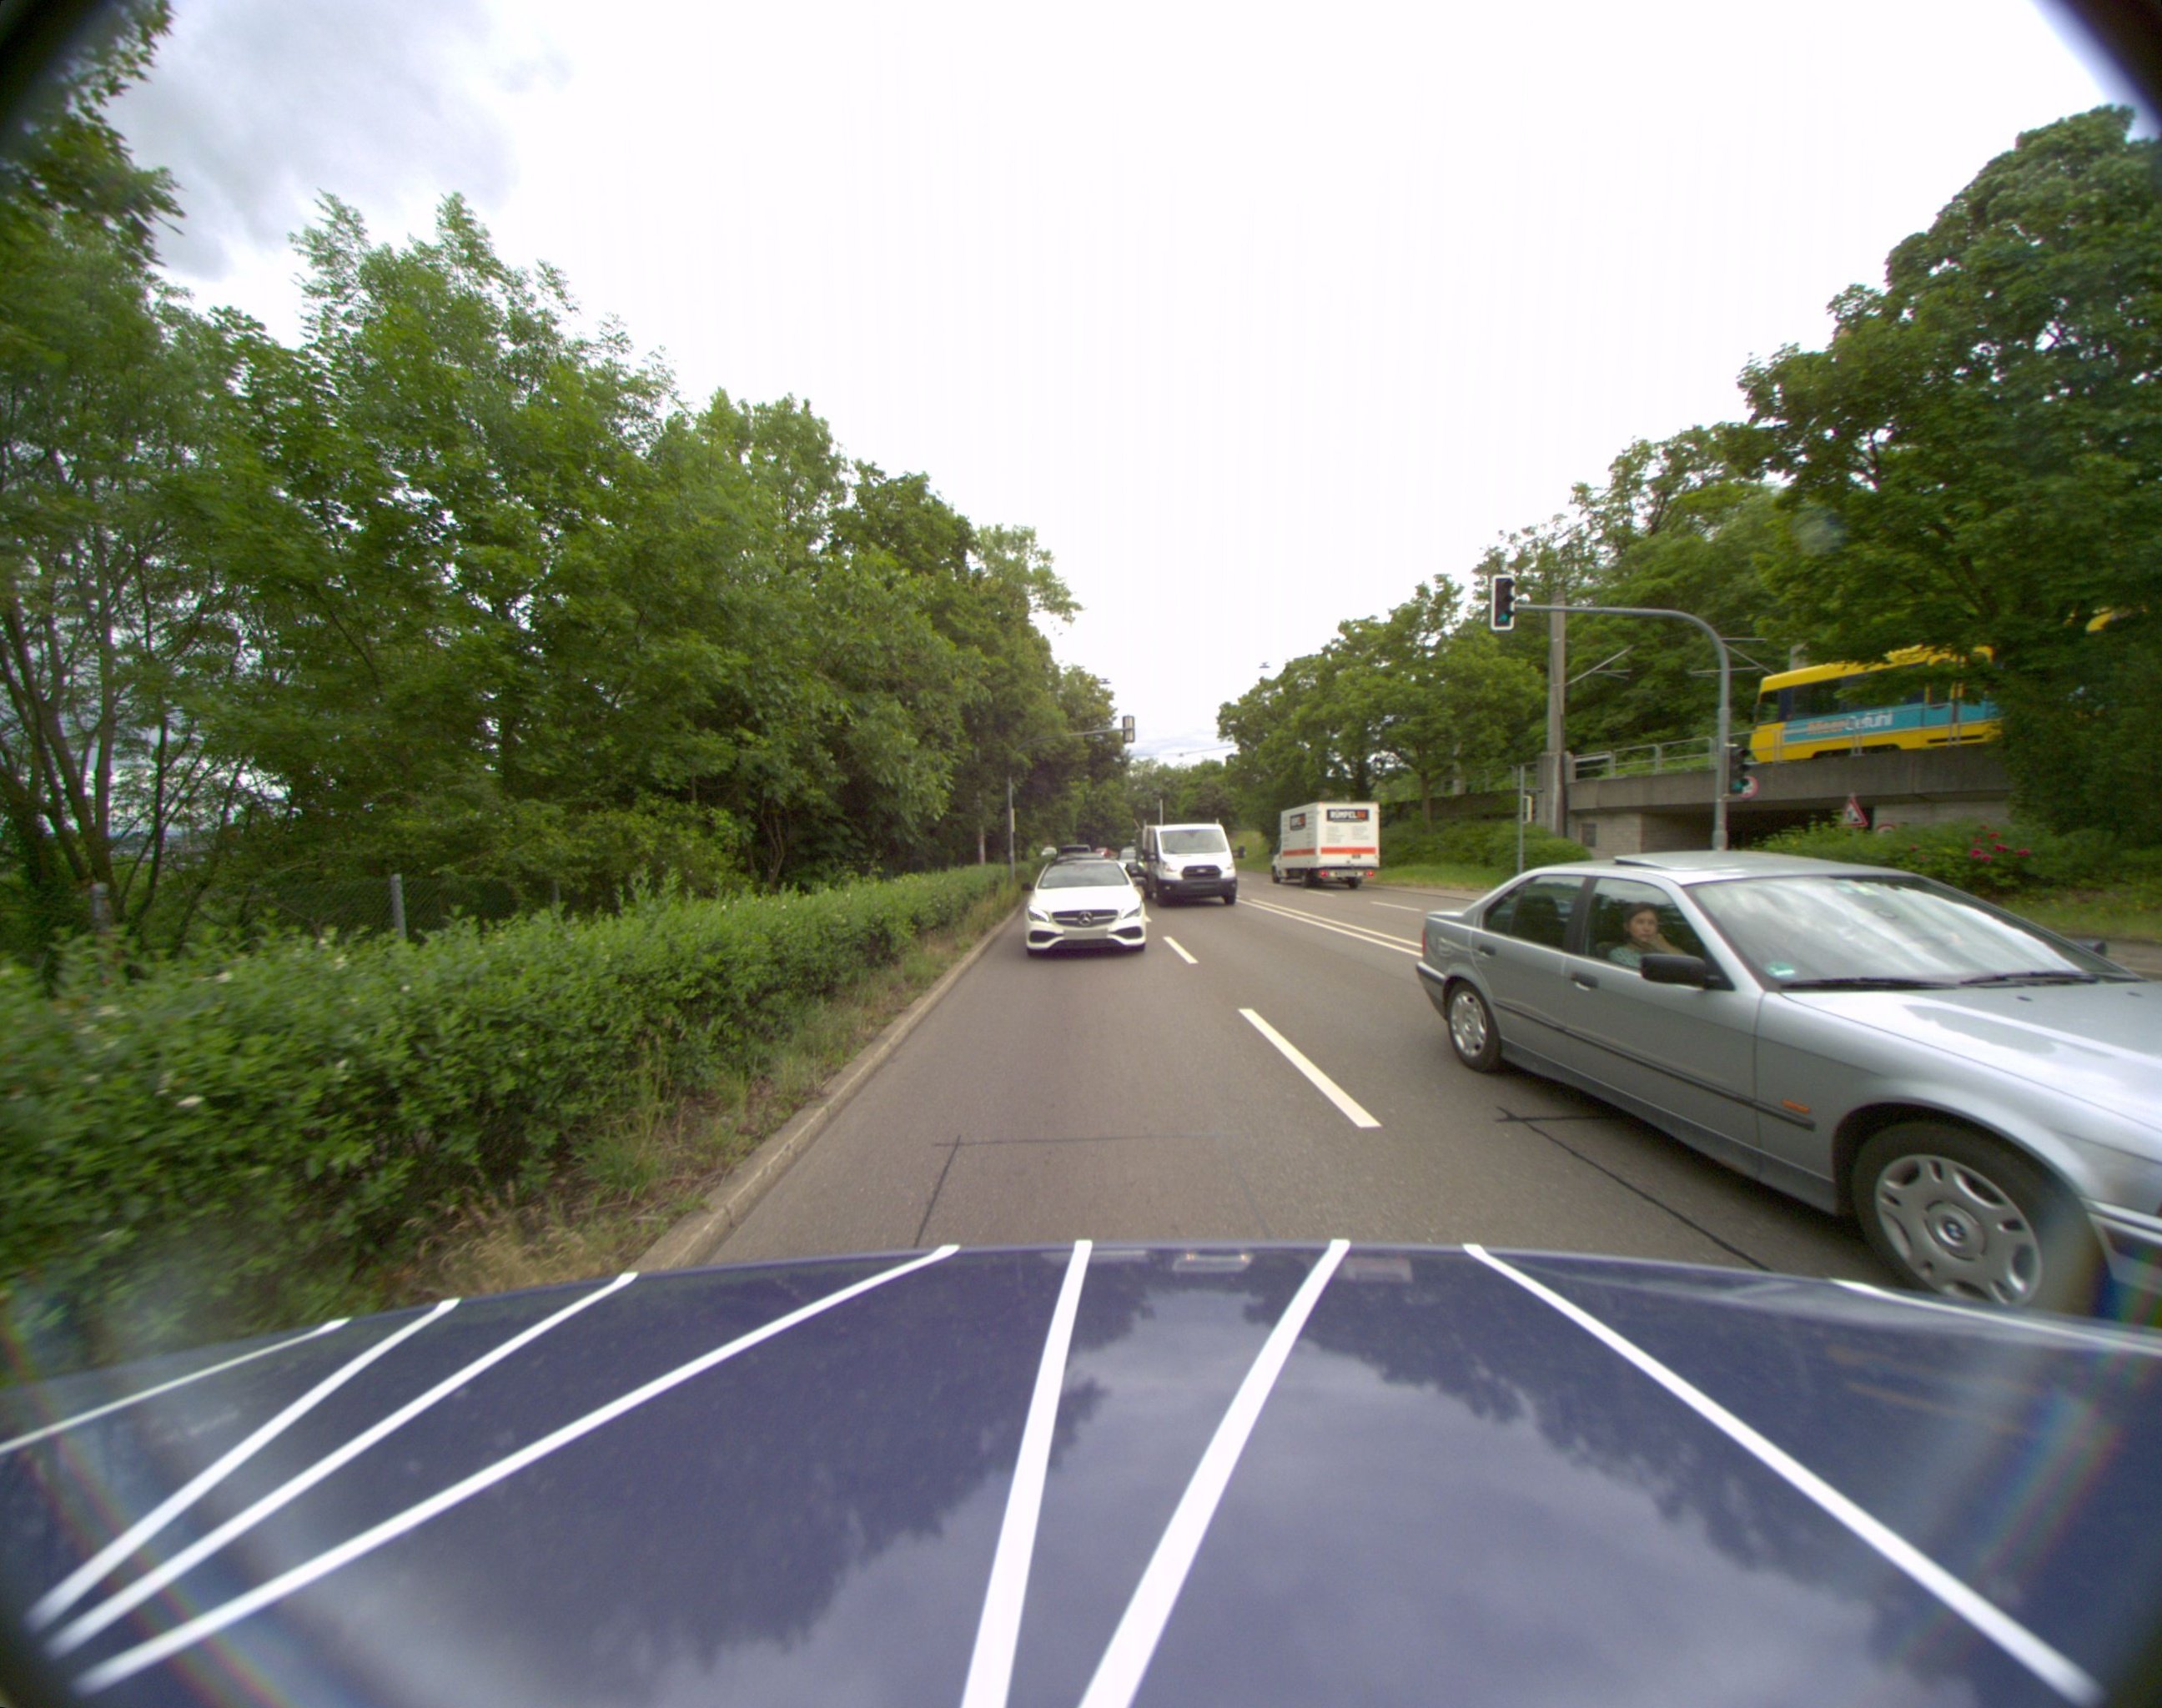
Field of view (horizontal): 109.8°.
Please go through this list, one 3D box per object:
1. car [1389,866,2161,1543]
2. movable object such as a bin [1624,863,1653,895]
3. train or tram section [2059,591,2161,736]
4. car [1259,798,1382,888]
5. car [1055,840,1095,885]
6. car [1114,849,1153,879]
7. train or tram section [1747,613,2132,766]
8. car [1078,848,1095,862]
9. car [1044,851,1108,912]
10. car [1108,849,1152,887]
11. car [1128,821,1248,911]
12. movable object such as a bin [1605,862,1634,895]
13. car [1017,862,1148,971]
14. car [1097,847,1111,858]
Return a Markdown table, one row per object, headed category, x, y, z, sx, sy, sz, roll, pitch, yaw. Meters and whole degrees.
| category | x | y | z | sx | sy | sz | roll | pitch | yaw |
| --- | --- | --- | --- | --- | --- | --- | --- | --- | --- |
| car | 3.279 | 0.824 | 3.551 | 1.757 | 1.385 | 4.614 | -1 | 1 | -1 |
| movable object such as a bin | 18.986 | 0.840 | 25.878 | 0.544 | 1.070 | 0.563 | 1 | 1 | -2 |
| train or tram section | 25.676 | -4.408 | 14.934 | 2.063 | 3.026 | 8.146 | -3 | 2 | -4 |
| car | 9.175 | -0.426 | 29.971 | 2.276 | 3.038 | 7.233 | -2 | 1 | -2 |
| car | -0.355 | 0.360 | 37.350 | 1.826 | 2.059 | 4.614 | -1 | 1 | -2 |
| car | 2.861 | 0.518 | 42.180 | 1.678 | 1.532 | 4.613 | -1 | 1 | -2 |
| train or tram section | 25.057 | -4.590 | 23.069 | 2.063 | 3.026 | 8.146 | -3 | 2 | -4 |
| car | 0.638 | 0.106 | 89.638 | 1.677 | 1.532 | 4.616 | -1 | 1 | 4 |
| car | -0.197 | 0.720 | 22.319 | 1.678 | 1.532 | 4.613 | -1 | 1 | -2 |
| car | 2.123 | 0.586 | 34.151 | 1.677 | 1.532 | 4.552 | -1 | 1 | 0 |
| car | 2.838 | 0.257 | 21.983 | 2.253 | 2.114 | 6.667 | -2 | 1 | -2 |
| movable object such as a bin | 18.276 | 0.823 | 25.784 | 0.544 | 1.092 | 0.563 | 1 | 1 | -2 |
| car | -0.003 | 0.897 | 12.755 | 1.807 | 1.385 | 4.283 | -1 | 1 | -1 |
| car | 3.234 | -0.227 | 106.183 | 1.677 | 1.532 | 4.616 | -1 | 1 | 4 |
